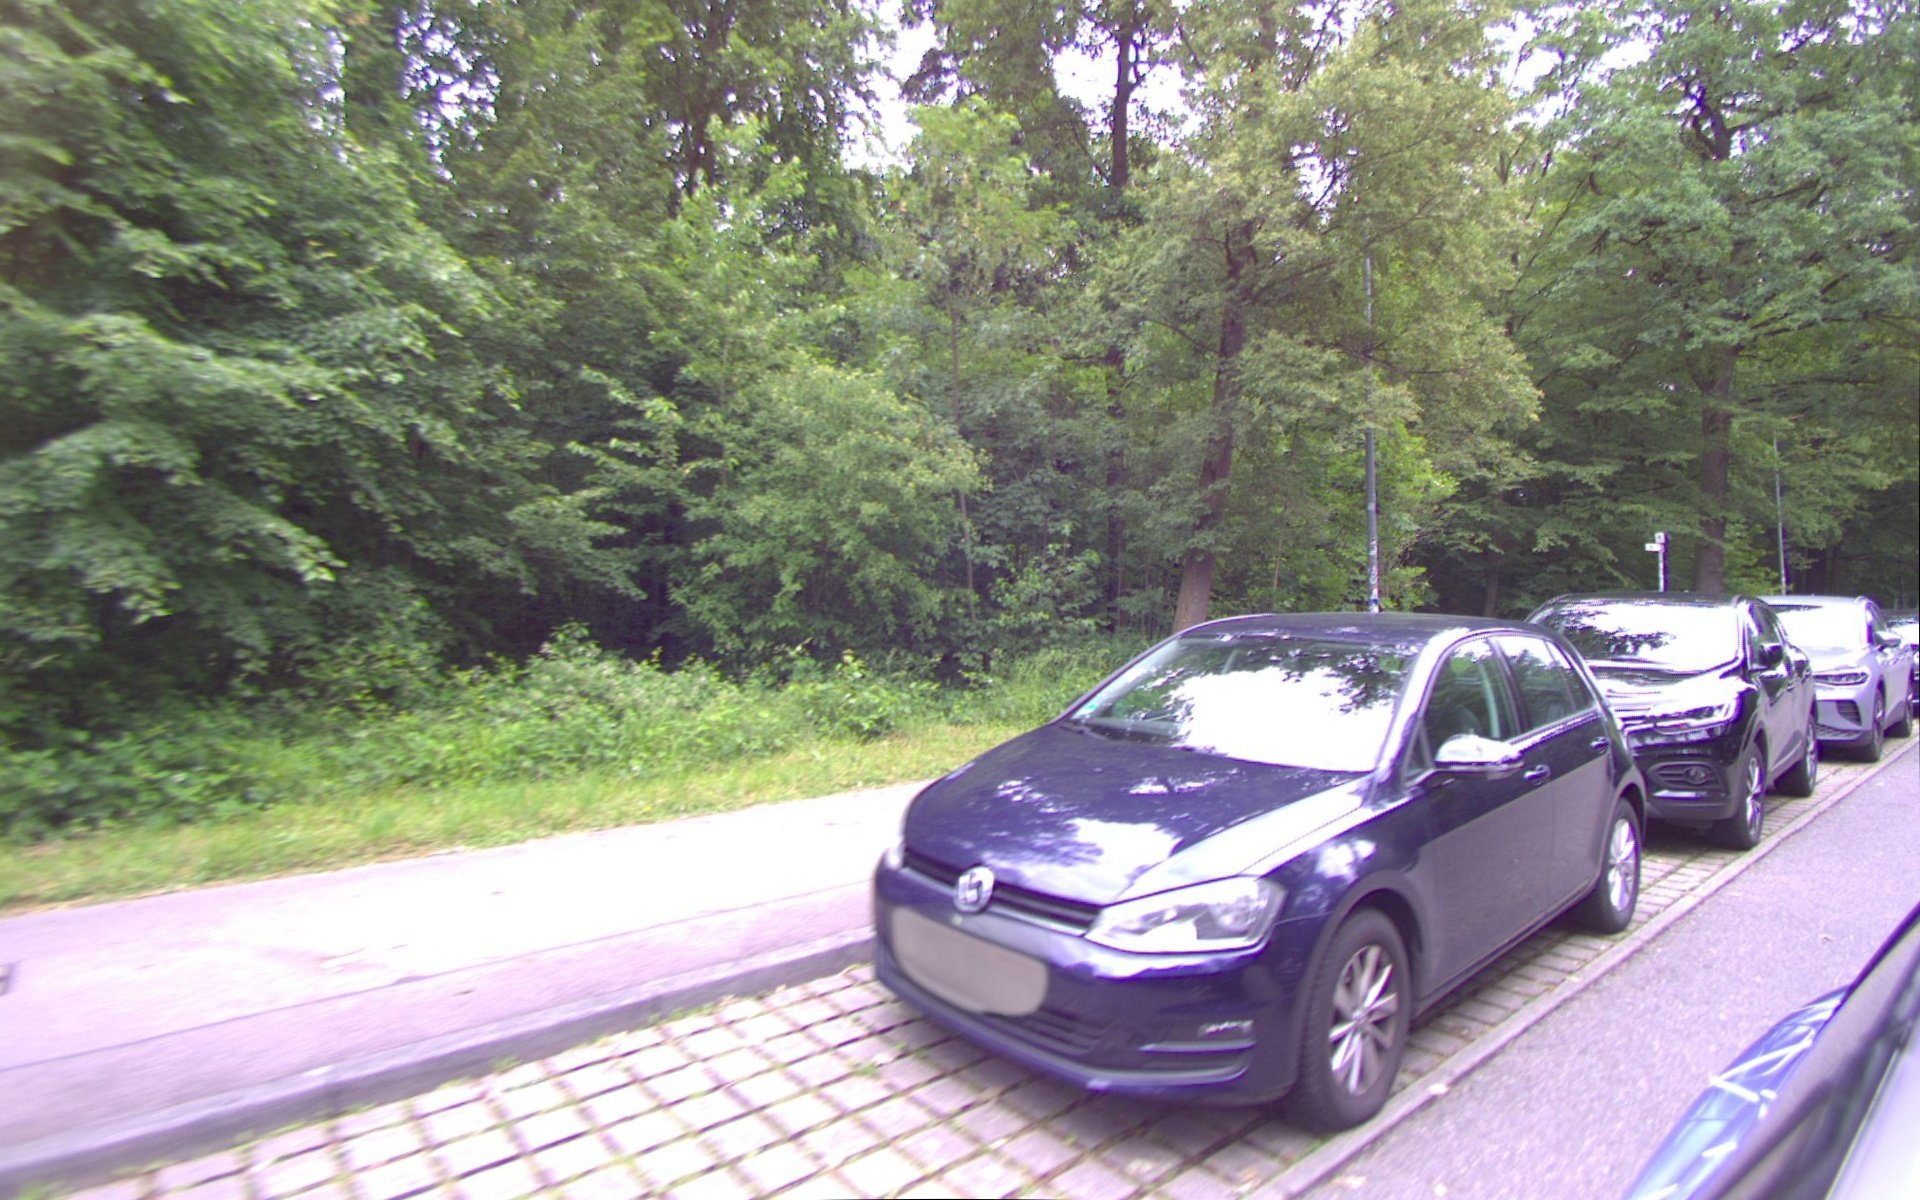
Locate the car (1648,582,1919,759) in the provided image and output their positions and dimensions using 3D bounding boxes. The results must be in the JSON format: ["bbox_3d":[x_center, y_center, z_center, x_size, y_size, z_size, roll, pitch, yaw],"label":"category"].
[{"bbox_3d":[9.467,0.641,11.378,4.404,1.607,1.904,0,0,-42],"label":"car"}]

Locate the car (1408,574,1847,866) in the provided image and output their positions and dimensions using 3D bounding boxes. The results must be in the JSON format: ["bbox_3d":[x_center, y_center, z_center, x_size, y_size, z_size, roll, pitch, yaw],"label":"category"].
[{"bbox_3d":[5.228,0.653,7.656,4.350,1.580,1.840,0,0,-43],"label":"car"}]

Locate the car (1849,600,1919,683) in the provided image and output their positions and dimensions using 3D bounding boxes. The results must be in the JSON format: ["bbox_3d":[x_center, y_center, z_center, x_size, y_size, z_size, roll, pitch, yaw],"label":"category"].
[{"bbox_3d":[18.151,0.719,18.871,4.114,1.444,1.749,0,0,-40],"label":"car"}]

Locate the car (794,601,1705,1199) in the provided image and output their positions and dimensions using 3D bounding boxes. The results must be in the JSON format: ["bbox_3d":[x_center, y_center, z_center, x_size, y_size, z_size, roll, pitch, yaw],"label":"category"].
[{"bbox_3d":[1.706,0.733,4.445,4.666,1.453,1.738,0,0,-44],"label":"car"}]

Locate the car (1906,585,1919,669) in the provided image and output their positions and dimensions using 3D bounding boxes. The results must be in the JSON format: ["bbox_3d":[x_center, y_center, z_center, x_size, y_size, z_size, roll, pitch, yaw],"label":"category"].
[{"bbox_3d":[22.017,0.557,21.780,4.406,1.745,1.909,0,0,-40],"label":"car"}]

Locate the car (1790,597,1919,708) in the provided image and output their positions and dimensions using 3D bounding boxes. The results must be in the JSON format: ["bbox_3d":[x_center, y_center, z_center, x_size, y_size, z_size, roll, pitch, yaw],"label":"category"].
[{"bbox_3d":[13.925,0.697,15.047,3.930,1.460,1.823,0,0,-41],"label":"car"}]
